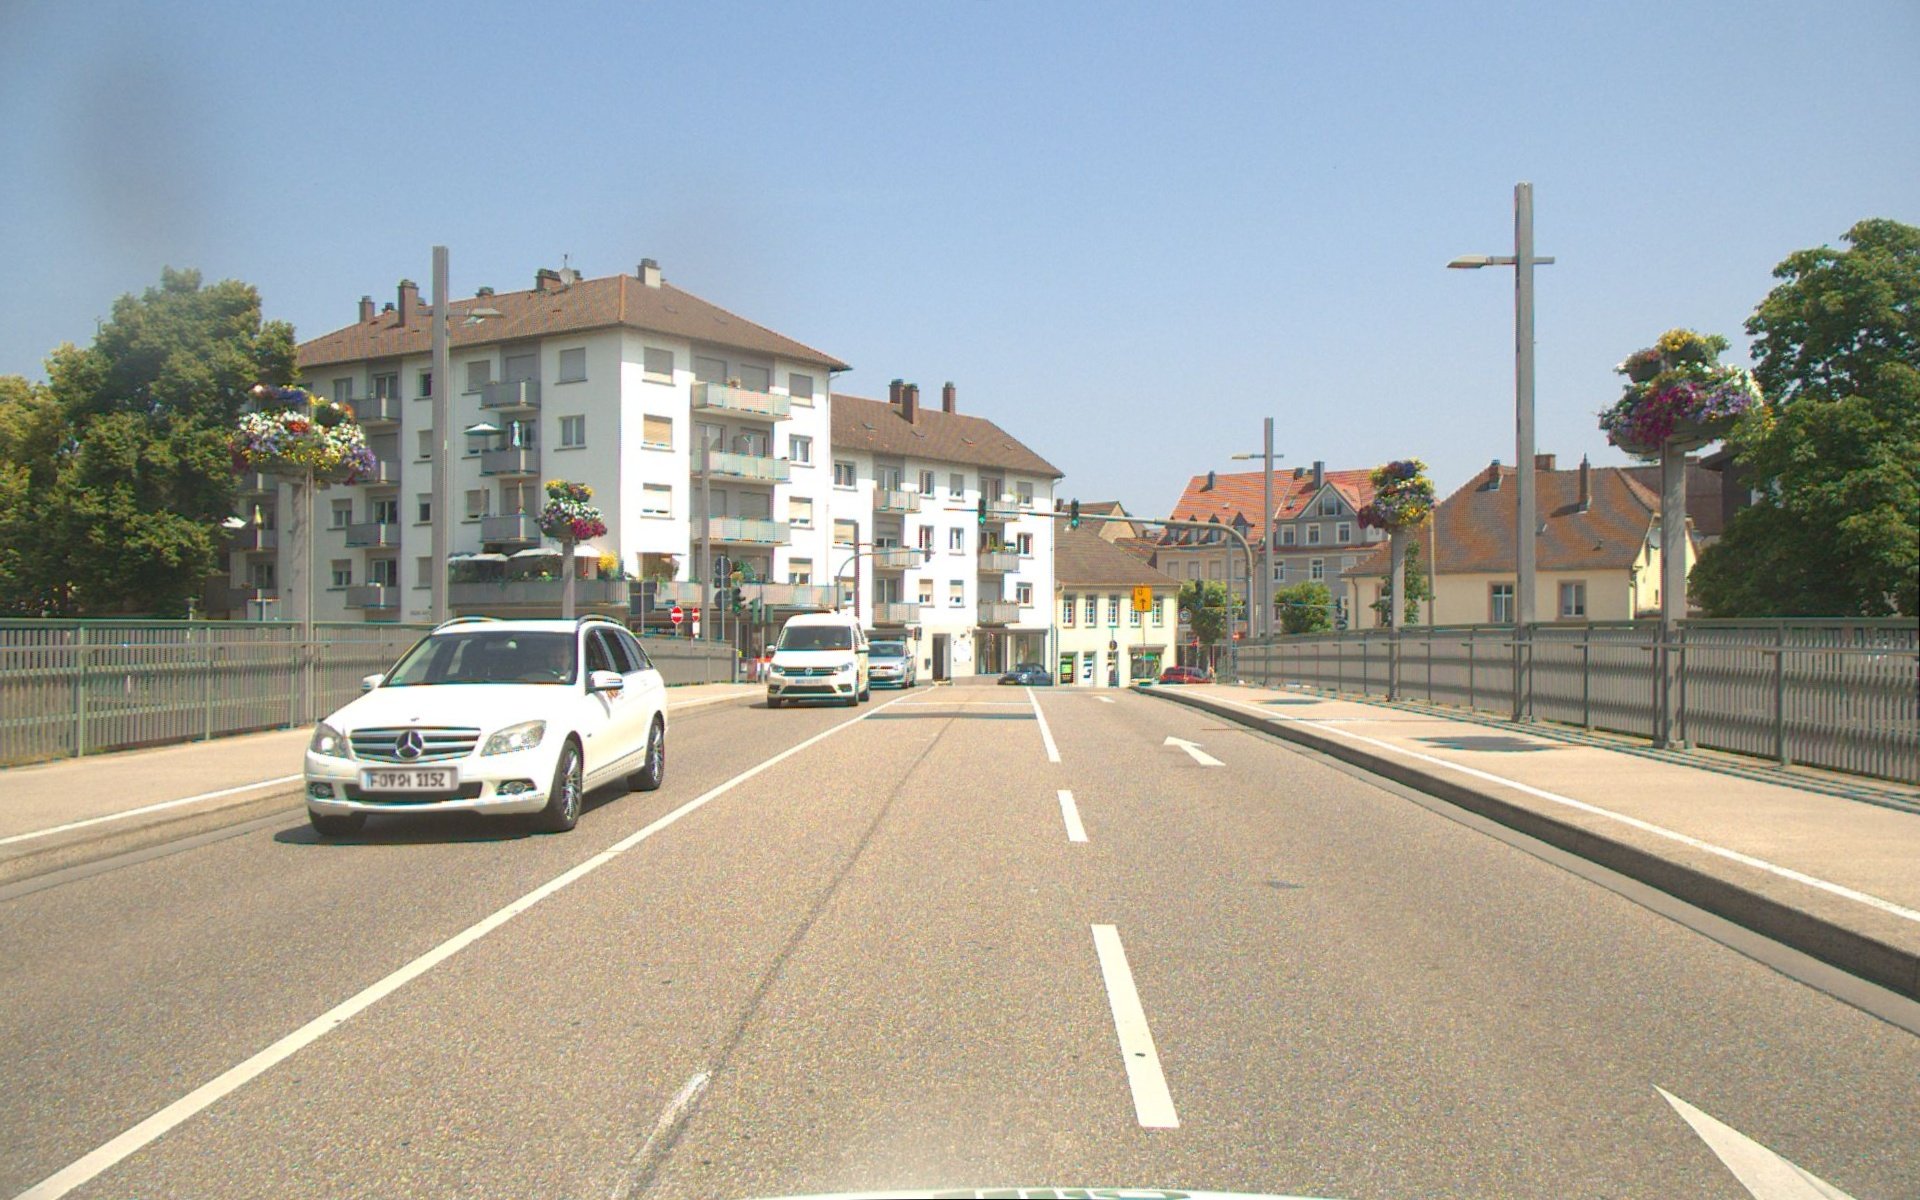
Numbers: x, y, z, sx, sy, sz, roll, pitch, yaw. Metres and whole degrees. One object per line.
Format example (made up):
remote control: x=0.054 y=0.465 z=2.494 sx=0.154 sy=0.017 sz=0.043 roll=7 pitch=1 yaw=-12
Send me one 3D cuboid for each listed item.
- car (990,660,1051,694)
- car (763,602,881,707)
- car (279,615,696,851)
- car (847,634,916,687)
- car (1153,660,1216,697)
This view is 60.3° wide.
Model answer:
car: x=2.991 y=3.760 z=81.125 sx=1.624 sy=1.466 sz=3.753 roll=-3 pitch=-2 yaw=25
car: x=-2.694 y=1.086 z=33.239 sx=1.722 sy=1.890 sz=4.647 roll=-2 pitch=-2 yaw=2
car: x=-3.402 y=0.875 z=12.944 sx=1.806 sy=1.457 sz=4.714 roll=-1 pitch=0 yaw=1
car: x=-2.393 y=1.846 z=51.281 sx=1.723 sy=1.546 sz=4.001 roll=-1 pitch=-1 yaw=3
car: x=11.296 y=3.900 z=83.036 sx=1.950 sy=1.641 sz=4.340 roll=-1 pitch=0 yaw=25
